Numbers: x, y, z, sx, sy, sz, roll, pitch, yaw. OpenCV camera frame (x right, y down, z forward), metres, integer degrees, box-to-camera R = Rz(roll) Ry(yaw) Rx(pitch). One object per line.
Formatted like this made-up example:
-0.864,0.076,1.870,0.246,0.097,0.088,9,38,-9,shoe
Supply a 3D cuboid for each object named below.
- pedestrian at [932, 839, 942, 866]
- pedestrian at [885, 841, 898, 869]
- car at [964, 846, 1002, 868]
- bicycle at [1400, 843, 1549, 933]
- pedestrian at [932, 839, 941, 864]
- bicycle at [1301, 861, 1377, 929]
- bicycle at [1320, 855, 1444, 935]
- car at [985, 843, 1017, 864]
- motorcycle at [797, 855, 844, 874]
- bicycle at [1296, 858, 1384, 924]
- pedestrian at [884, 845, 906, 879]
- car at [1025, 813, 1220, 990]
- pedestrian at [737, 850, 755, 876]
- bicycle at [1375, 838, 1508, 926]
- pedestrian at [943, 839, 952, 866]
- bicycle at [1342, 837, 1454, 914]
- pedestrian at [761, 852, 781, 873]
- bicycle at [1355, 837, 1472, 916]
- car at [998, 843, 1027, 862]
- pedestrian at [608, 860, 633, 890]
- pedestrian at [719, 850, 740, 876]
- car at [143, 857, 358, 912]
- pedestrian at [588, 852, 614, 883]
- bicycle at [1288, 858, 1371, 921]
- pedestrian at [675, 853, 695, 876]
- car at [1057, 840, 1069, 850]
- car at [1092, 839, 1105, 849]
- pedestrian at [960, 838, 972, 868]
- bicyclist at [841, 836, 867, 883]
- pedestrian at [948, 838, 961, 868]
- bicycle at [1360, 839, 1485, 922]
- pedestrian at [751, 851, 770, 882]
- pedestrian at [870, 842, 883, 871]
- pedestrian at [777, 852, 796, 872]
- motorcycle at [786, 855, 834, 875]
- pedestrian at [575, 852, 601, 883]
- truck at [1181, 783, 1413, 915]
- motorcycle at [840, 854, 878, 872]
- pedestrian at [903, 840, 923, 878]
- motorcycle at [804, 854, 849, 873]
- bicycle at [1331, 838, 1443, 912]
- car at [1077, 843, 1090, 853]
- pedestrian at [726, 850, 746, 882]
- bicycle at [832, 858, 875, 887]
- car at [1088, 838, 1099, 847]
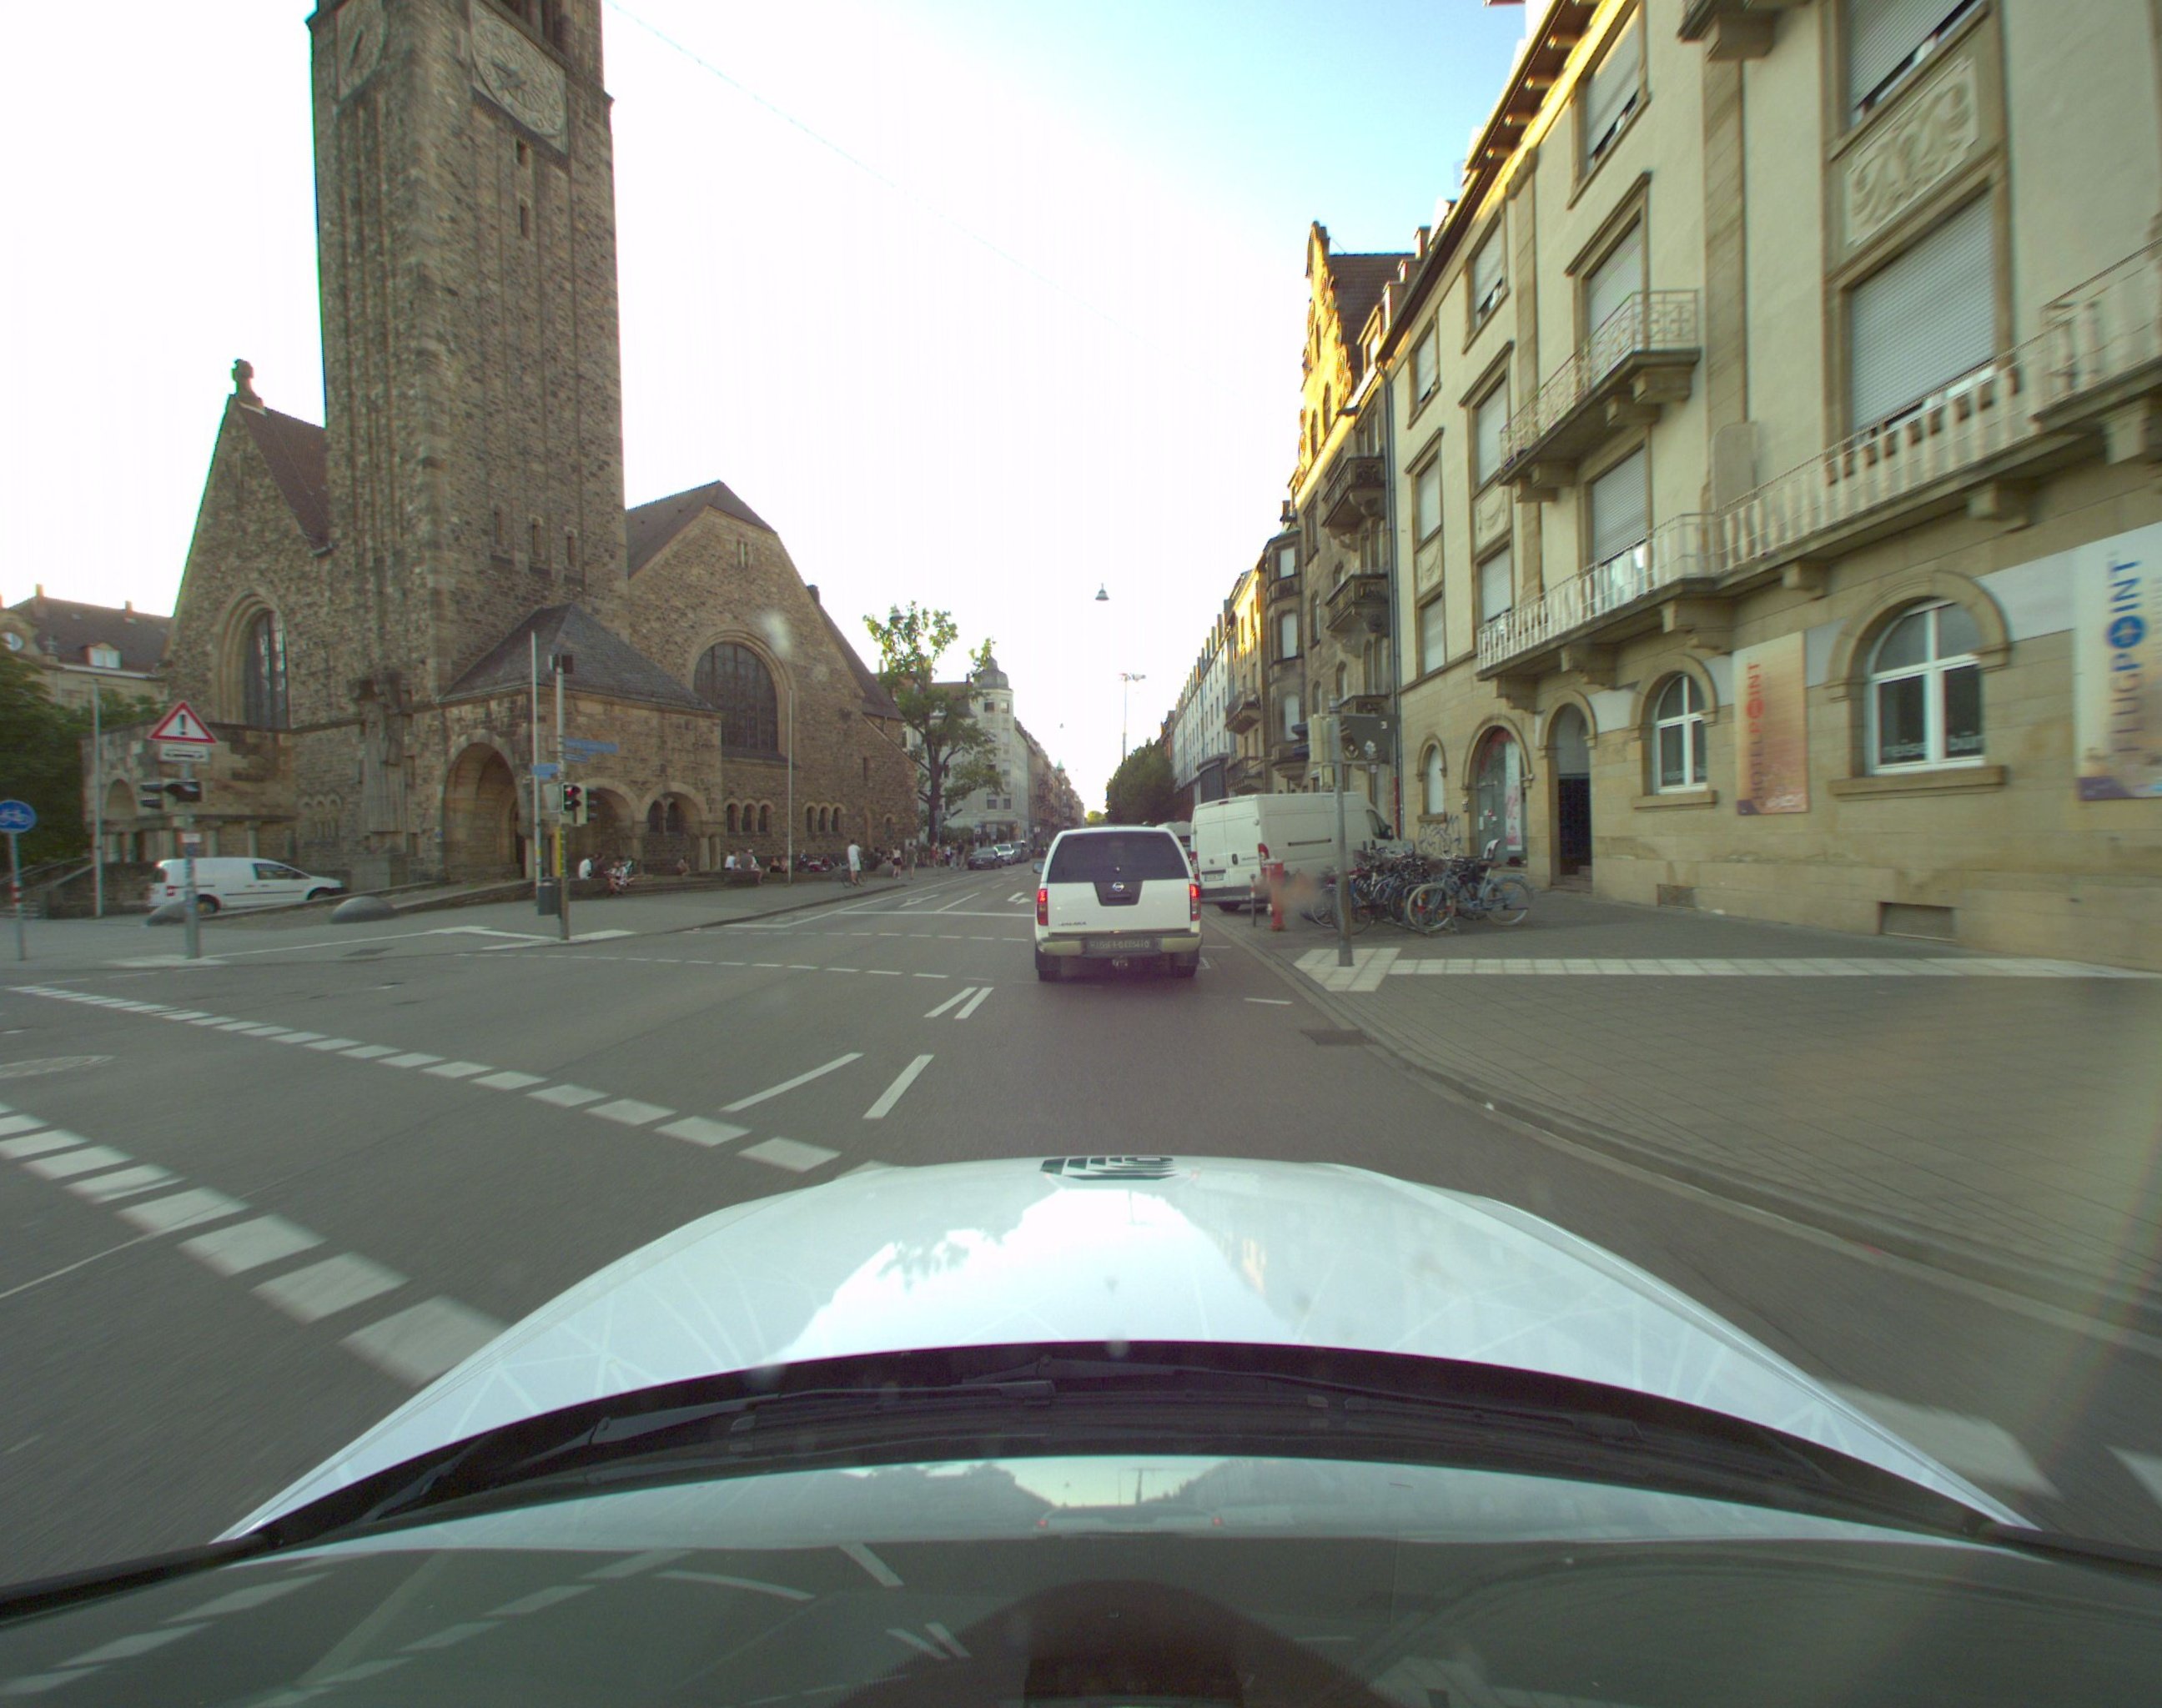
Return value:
-9.987,-0.083,56.549,0.643,1.855,0.560,-1,0,-11,pedestrian
-11.790,0.072,50.627,0.640,1.695,0.562,-1,0,2,pedestrian
-6.441,0.192,54.114,1.851,1.398,4.003,-1,0,3,car
5.780,0.489,12.017,1.811,1.149,0.636,-5,0,1,bicycle
-10.188,-0.172,57.400,0.559,1.695,0.644,-1,0,-5,pedestrian
4.256,0.666,13.449,1.073,1.024,0.317,-5,0,1,bicycle
4.624,0.625,12.544,1.720,1.083,0.317,-5,0,1,bicycle
-6.076,-0.036,62.307,1.851,1.529,4.003,-1,0,3,car
-14.003,0.546,43.829,2.238,0.987,0.707,-1,0,-3,motorcycle
4.491,0.642,14.150,1.366,1.024,0.317,-5,0,1,bicycle
-9.249,0.369,40.519,0.809,1.669,0.860,-1,0,1,pedestrian
0.542,0.474,10.367,1.985,1.809,4.004,0,0,3,car
-12.806,0.342,31.145,0.522,0.960,0.477,-1,0,-13,pedestrian
5.712,0.437,12.963,1.811,1.238,0.488,-5,0,1,bicycle
-9.354,-0.096,57.065,0.559,1.855,0.644,-1,0,-5,pedestrian
5.824,0.388,15.004,1.811,1.238,0.410,-5,0,1,bicycle
-14.864,0.396,39.044,0.547,0.960,0.713,-1,0,24,pedestrian
5.859,0.393,14.395,1.811,1.238,0.412,-5,0,1,bicycle
-5.759,-0.169,68.887,1.851,1.529,4.003,-1,0,3,car
-15.147,0.686,26.792,0.473,0.960,0.526,-1,0,33,pedestrian
-13.491,0.350,31.252,0.517,0.960,0.482,-1,0,21,pedestrian
-26.373,0.912,26.073,1.698,1.516,4.483,-1,1,27,car
-15.096,0.421,25.613,0.517,0.960,0.482,-1,0,22,pedestrian
4.475,0.638,14.699,1.328,1.024,0.317,-5,0,1,bicycle
-17.477,0.456,35.986,0.550,0.960,0.709,-1,0,-3,pedestrian
-2.966,-1.528,135.010,1.851,1.529,4.003,-1,0,3,car
2.712,-1.524,126.761,1.851,1.529,4.003,-1,0,3,car
-7.318,-0.072,51.772,0.646,1.855,0.557,-1,0,-26,pedestrian
-8.916,0.202,32.049,0.652,1.827,0.862,-1,0,11,bicyclist
-8.005,-0.061,51.534,0.646,1.855,0.557,-1,0,-26,pedestrian
5.716,0.436,13.675,1.811,1.238,0.478,-5,0,1,bicycle
-13.027,0.510,33.061,0.474,1.245,0.526,-1,0,21,pedestrian
-12.146,0.138,48.339,0.642,1.695,0.561,-1,0,-5,pedestrian
-14.358,0.384,39.693,0.547,0.960,0.713,-1,0,24,pedestrian
-14.159,0.559,42.606,2.238,0.987,0.707,-1,0,-3,motorcycle
-15.699,0.425,25.921,0.517,0.960,0.482,-1,0,22,pedestrian
5.081,-0.162,18.623,5.703,2.564,2.261,-2,1,-40,truck
-12.785,0.504,46.860,2.145,0.987,0.597,-1,0,23,motorcycle
-8.393,0.240,40.766,0.809,1.900,0.666,-1,0,1,pedestrian
-13.942,0.539,44.627,2.238,0.987,0.707,-1,0,-3,motorcycle
5.813,0.386,15.537,1.848,1.238,0.531,-5,0,1,bicycle
0.415,-0.951,132.169,1.851,1.529,4.003,-1,0,3,car
-13.712,0.485,32.358,0.474,1.245,0.526,-1,0,21,pedestrian
-8.907,0.701,32.032,0.652,1.078,2.252,-1,0,12,bicycle
2.119,-1.884,137.121,1.914,1.529,4.000,-1,0,0,car
